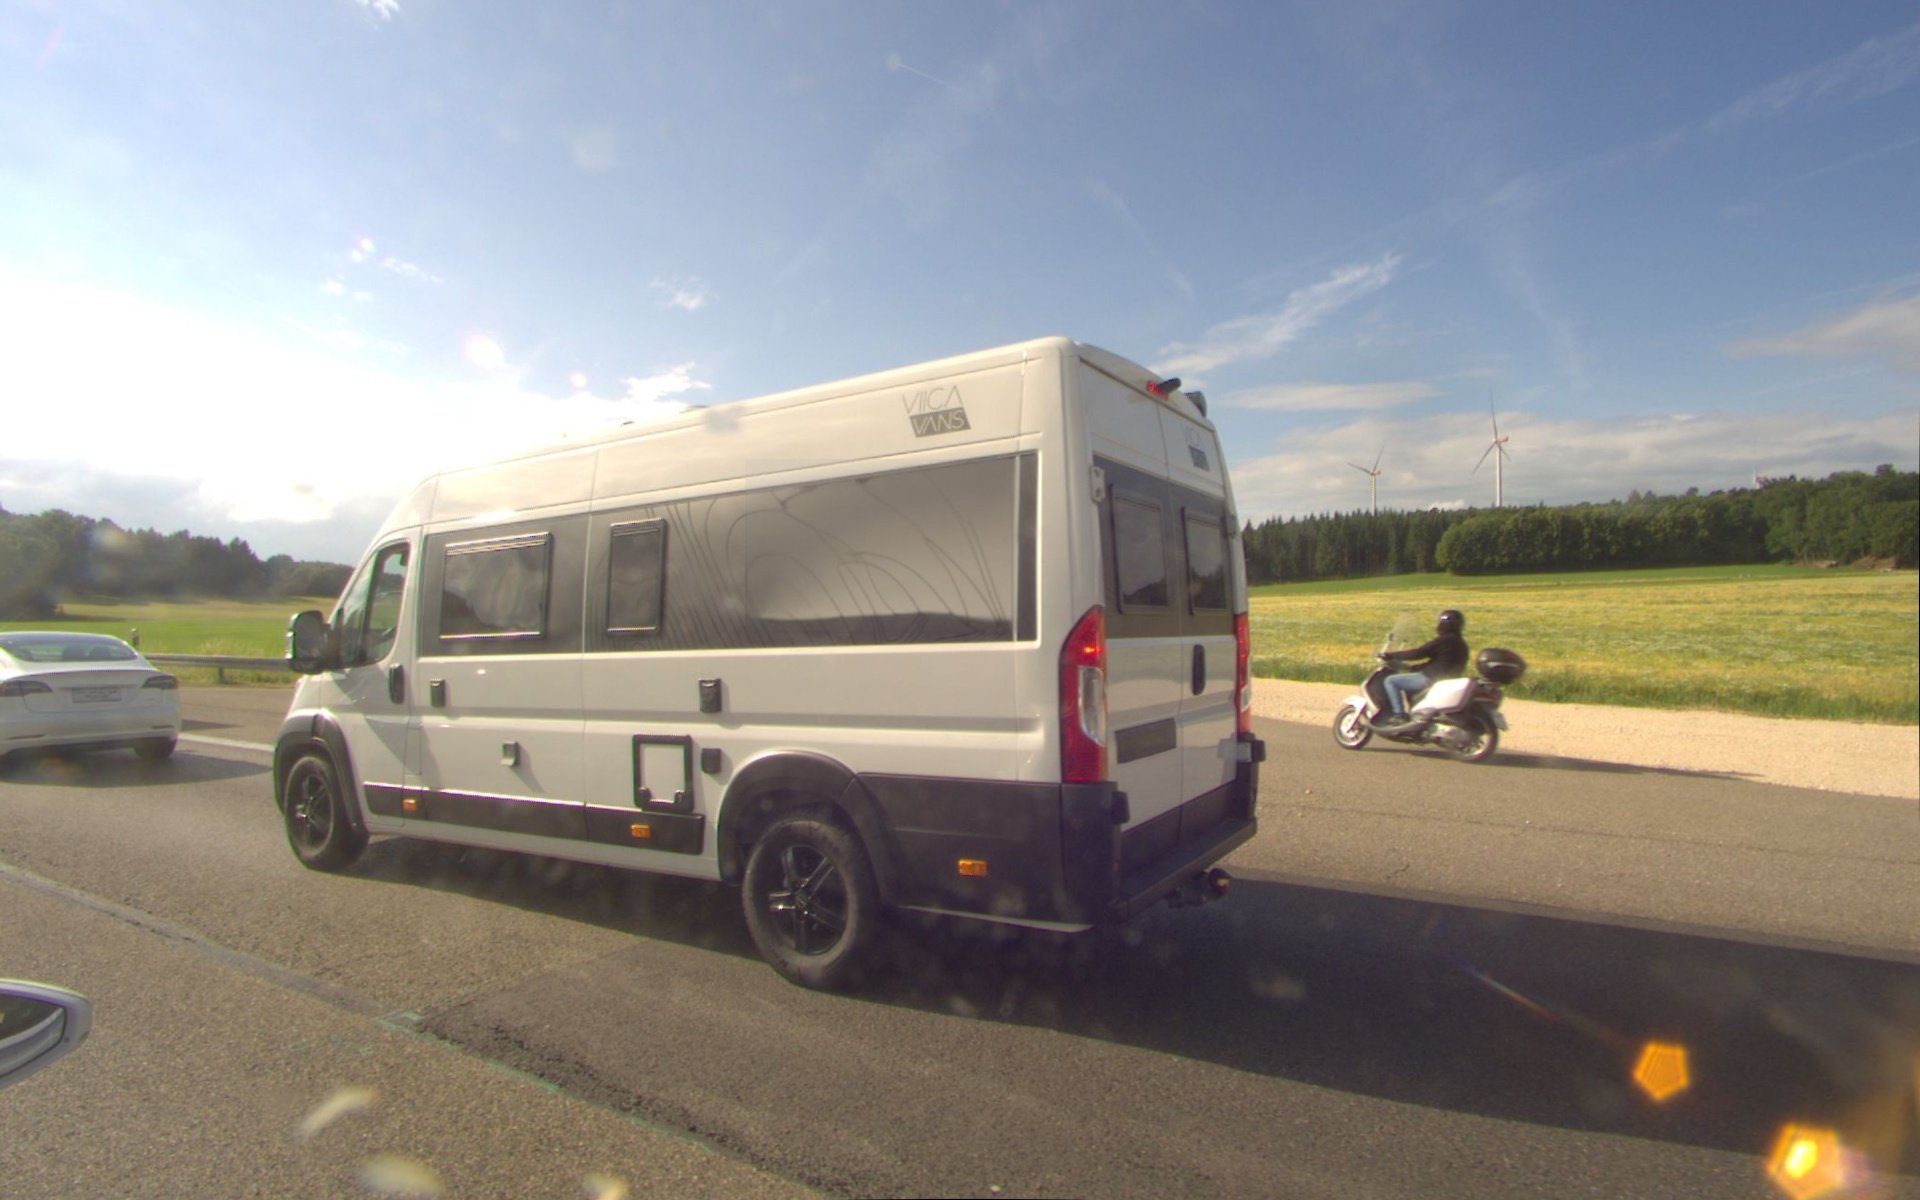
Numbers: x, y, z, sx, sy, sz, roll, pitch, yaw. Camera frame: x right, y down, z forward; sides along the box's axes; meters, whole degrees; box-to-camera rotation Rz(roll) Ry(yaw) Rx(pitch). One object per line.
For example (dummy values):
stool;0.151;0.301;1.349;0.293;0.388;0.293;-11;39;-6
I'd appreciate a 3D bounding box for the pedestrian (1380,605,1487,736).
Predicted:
pedestrian;5.296;0.769;11.214;0.748;1.391;0.814;1;-1;-32

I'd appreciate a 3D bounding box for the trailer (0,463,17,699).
trailer;-22.775;-0.174;19.686;13.180;4.061;3.125;-2;-2;33

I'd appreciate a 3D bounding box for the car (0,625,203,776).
car;-10.663;1.009;11.407;4.372;1.412;1.786;-1;-1;31

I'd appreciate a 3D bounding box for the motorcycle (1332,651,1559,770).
motorcycle;5.323;1.167;11.147;0.748;1.164;2.232;2;-3;-32

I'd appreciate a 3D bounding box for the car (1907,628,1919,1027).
car;4.885;0.769;1.913;4.170;1.450;1.701;-1;-2;31

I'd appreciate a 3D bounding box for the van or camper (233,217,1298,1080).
van or camper;-1.520;0.214;5.775;6.242;2.716;2.211;-1;-1;33
